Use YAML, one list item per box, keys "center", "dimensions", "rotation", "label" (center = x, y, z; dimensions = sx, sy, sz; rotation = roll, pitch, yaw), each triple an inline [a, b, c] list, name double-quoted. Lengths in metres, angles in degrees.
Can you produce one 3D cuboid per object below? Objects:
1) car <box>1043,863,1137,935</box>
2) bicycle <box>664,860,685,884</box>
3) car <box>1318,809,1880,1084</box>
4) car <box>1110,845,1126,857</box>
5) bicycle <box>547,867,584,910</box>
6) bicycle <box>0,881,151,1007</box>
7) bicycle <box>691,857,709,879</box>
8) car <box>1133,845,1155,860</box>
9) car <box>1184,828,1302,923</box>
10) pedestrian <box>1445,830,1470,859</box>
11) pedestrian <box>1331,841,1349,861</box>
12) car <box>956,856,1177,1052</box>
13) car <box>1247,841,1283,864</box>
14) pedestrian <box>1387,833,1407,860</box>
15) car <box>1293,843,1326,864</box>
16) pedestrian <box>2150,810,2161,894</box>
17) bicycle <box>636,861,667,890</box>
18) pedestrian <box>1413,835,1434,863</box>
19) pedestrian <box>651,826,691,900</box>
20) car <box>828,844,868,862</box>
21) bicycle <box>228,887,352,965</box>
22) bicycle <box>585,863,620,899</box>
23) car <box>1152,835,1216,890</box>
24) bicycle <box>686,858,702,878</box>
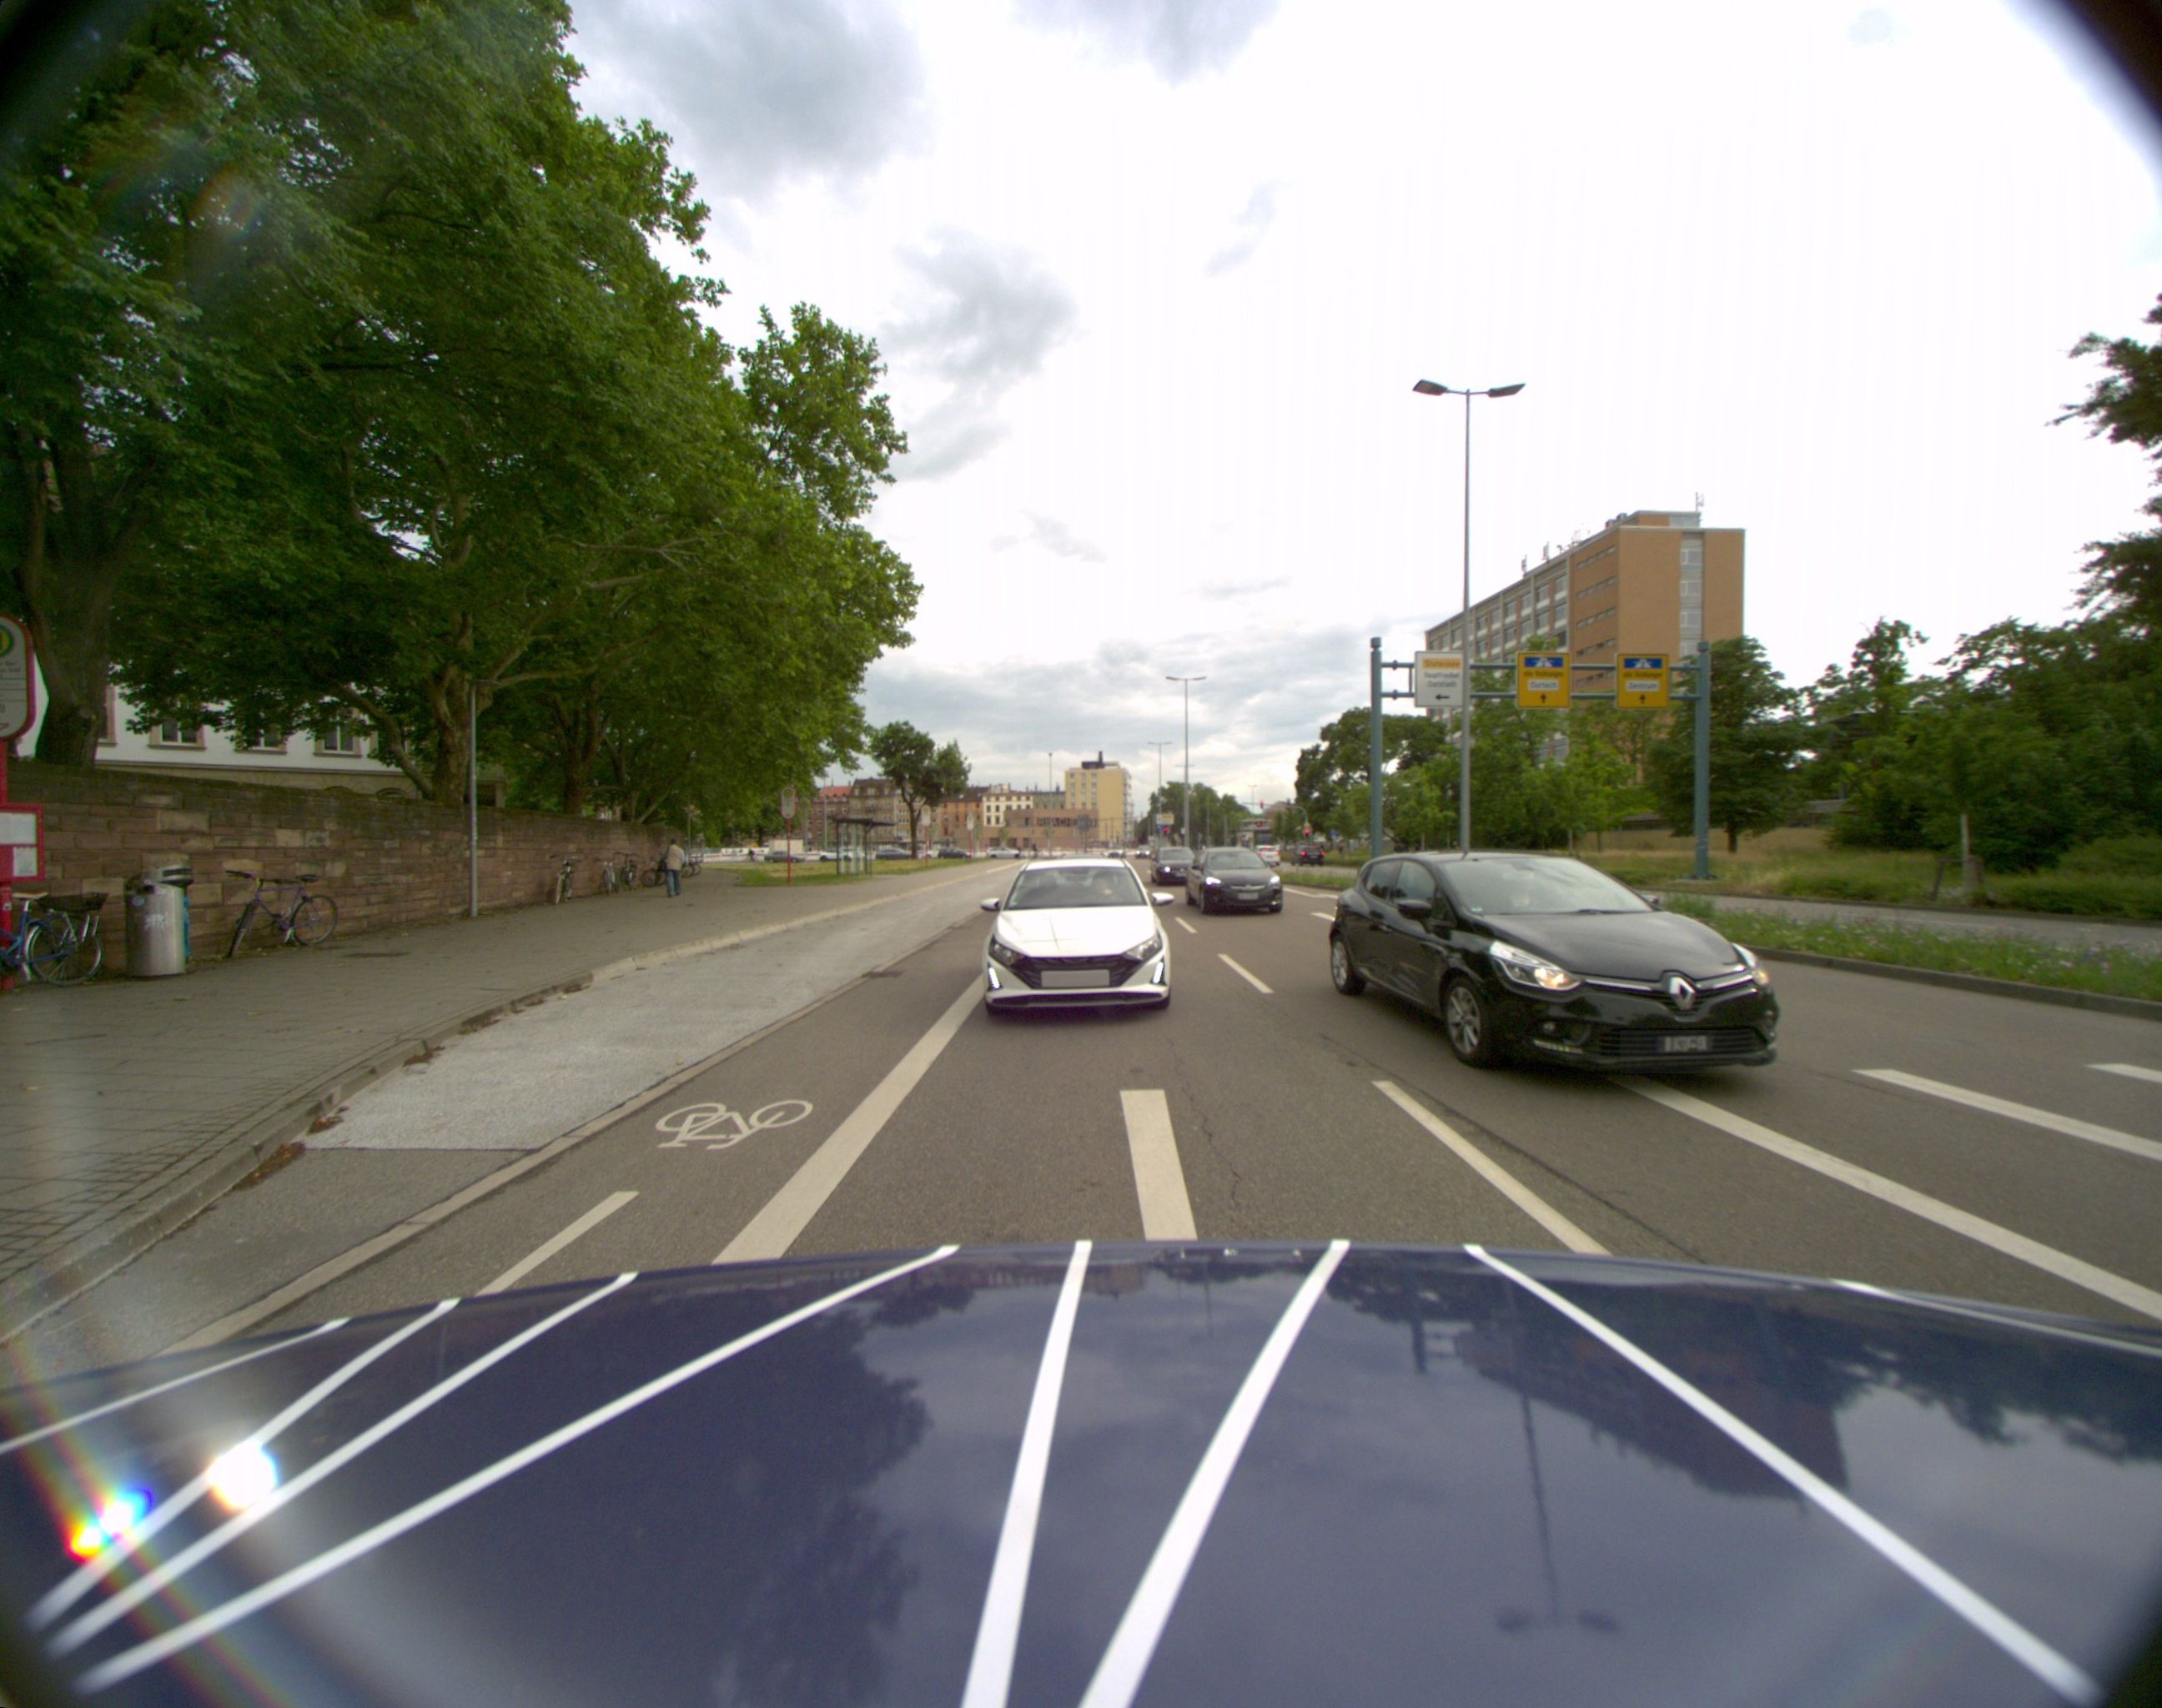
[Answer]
- center: [0.225, 0.985, 18.213]
  dimensions: [1.998, 1.422, 3.999]
  rotation: [0, 1, 1]
  label: "car"
- center: [-16.868, 0.730, 31.561]
  dimensions: [0.569, 0.934, 1.764]
  rotation: [-1, 1, -22]
  label: "bicycle"
- center: [3.339, 0.460, 5.994]
  dimensions: [1.732, 1.450, 3.999]
  rotation: [0, 1, 1]
  label: "car"
- center: [4.272, -0.365, 87.375]
  dimensions: [1.606, 1.360, 3.578]
  rotation: [-2, 1, -1]
  label: "car"
- center: [-12.299, 0.809, 18.155]
  dimensions: [0.365, 0.934, 1.637]
  rotation: [-1, 1, -21]
  label: "bicycle"
- center: [-9.968, 0.839, 6.965]
  dimensions: [0.478, 1.070, 2.081]
  rotation: [0, 1, -6]
  label: "bicycle"
- center: [-20.408, 0.737, 40.746]
  dimensions: [0.693, 1.078, 1.650]
  rotation: [-1, 1, -22]
  label: "bicycle"
- center: [7.087, -0.151, 86.060]
  dimensions: [1.999, 1.536, 3.999]
  rotation: [-3, 1, -1]
  label: "car"
- center: [3.692, 0.429, 18.090]
  dimensions: [1.998, 2.002, 3.999]
  rotation: [0, 1, 1]
  label: "car"
- center: [25.714, -0.671, 51.859]
  dimensions: [1.137, 1.908, 1.162]
  rotation: [-2, 1, 4]
  label: "pedestrian"
- center: [25.887, -0.318, 76.019]
  dimensions: [1.223, 2.002, 1.520]
  rotation: [-2, 1, 0]
  label: "pedestrian"
- center: [-0.090, 0.832, 8.244]
  dimensions: [1.813, 1.533, 3.999]
  rotation: [0, 1, 1]
  label: "car"
- center: [14.811, -0.163, 61.273]
  dimensions: [1.893, 1.763, 3.999]
  rotation: [-2, 1, 1]
  label: "car"
- center: [23.886, -0.553, 57.500]
  dimensions: [0.882, 2.002, 1.220]
  rotation: [-2, 1, -7]
  label: "pedestrian"
- center: [18.100, -0.087, 60.247]
  dimensions: [1.854, 1.543, 4.001]
  rotation: [-1, 1, 7]
  label: "car"
- center: [21.423, -0.054, 14.483]
  dimensions: [0.990, 1.616, 0.813]
  rotation: [-2, 1, -2]
  label: "pedestrian"
- center: [-15.099, 0.722, 26.761]
  dimensions: [0.655, 0.934, 1.953]
  rotation: [-1, 1, -21]
  label: "bicycle"
- center: [25.550, -0.373, 56.649]
  dimensions: [0.882, 2.002, 1.220]
  rotation: [-2, 1, -7]
  label: "pedestrian"
- center: [-11.275, 0.237, 20.914]
  dimensions: [0.784, 2.002, 0.887]
  rotation: [1, 2, -17]
  label: "pedestrian"
- center: [-28.551, -0.138, 93.385]
  dimensions: [4.284, 2.002, 1.999]
  rotation: [-2, 1, -5]
  label: "car"
- center: [-10.624, 0.935, 10.274]
  dimensions: [0.291, 0.880, 1.609]
  rotation: [-1, 1, -12]
  label: "bicycle"
- center: [-13.650, 0.744, 21.692]
  dimensions: [0.482, 0.934, 1.895]
  rotation: [-1, 1, -21]
  label: "bicycle"
- center: [3.942, 0.281, 29.635]
  dimensions: [1.998, 2.002, 3.999]
  rotation: [0, 1, 1]
  label: "car"
- center: [-18.823, 0.665, 36.952]
  dimensions: [0.561, 0.934, 1.351]
  rotation: [-1, 1, -22]
  label: "bicycle"
